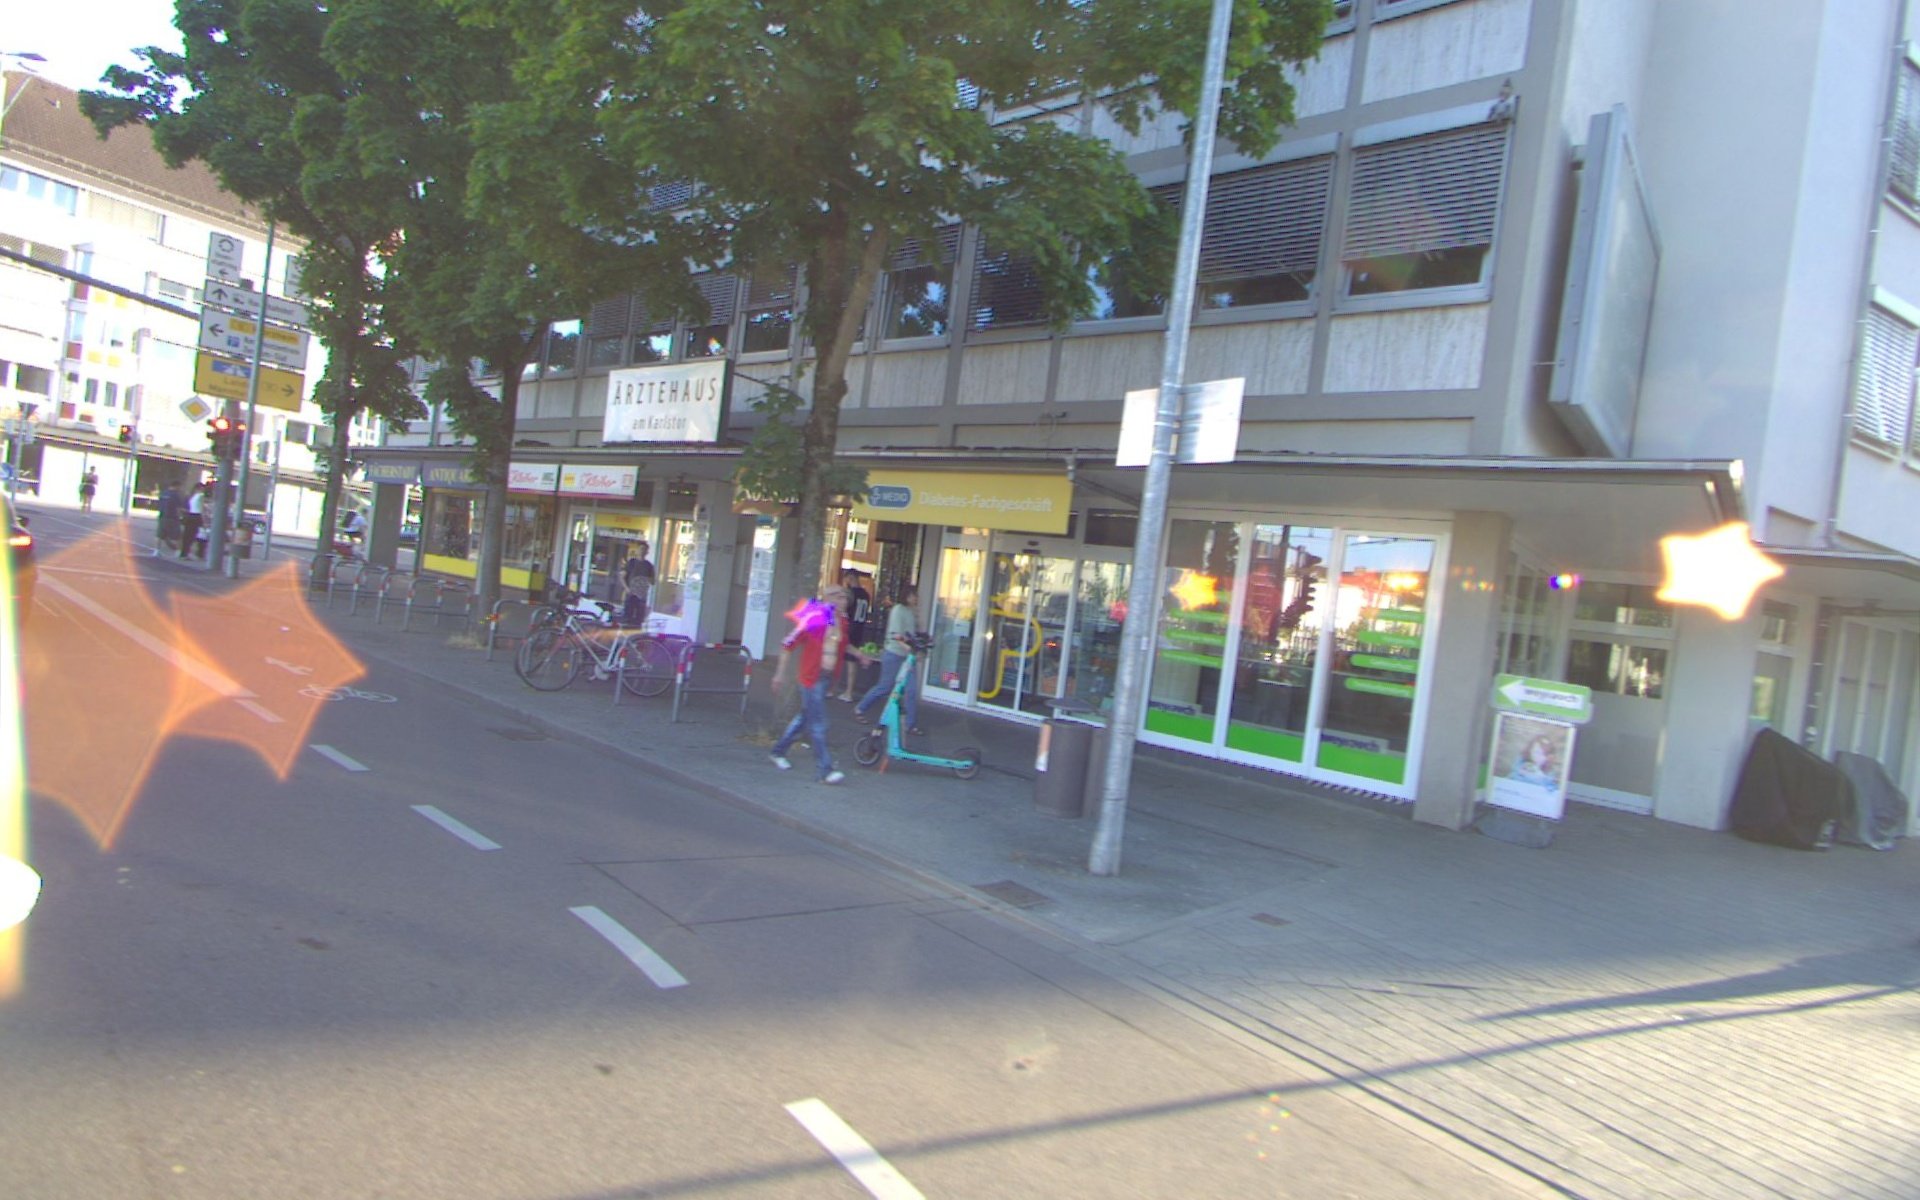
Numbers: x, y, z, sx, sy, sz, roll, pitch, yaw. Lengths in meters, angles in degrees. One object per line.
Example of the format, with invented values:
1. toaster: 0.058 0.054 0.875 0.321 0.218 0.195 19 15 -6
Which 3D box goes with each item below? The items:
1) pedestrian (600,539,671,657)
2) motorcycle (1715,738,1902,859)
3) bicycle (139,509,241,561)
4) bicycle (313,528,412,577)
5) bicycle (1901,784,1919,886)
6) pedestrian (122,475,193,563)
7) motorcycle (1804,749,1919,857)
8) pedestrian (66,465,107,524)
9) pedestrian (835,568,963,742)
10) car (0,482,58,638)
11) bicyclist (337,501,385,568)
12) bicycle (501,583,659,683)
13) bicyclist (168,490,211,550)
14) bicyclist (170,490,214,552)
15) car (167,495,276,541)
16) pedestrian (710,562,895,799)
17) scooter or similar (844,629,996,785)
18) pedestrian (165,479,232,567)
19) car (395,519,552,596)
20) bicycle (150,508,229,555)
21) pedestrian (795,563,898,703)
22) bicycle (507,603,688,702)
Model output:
1. pedestrian: -5.275 -0.038 16.354 0.740 1.799 0.794 9 -1 -28
2. motorcycle: 9.999 2.345 11.836 2.269 1.182 0.804 8 0 -28
3. bicycle: -20.437 -1.705 26.762 0.410 1.040 2.038 8 -1 34
4. bicycle: -18.647 -1.455 31.487 0.428 1.112 2.645 8 -2 33
5. bicycle: 10.709 2.528 9.839 0.579 1.127 1.988 7 2 -32
6. pedestrian: -18.339 -1.826 23.021 0.718 1.851 0.995 8 -1 -16
7. motorcycle: 11.991 2.641 13.033 2.249 1.172 0.734 8 1 -28
8. pedestrian: -28.557 -3.451 32.883 0.789 1.799 0.746 8 -1 42
9. pedestrian: -0.693 0.618 11.350 0.959 1.799 0.746 8 -1 39
10. car: -11.099 -0.649 10.579 3.942 1.457 1.764 8 -1 40
11. bicyclist: -18.637 -2.029 31.307 0.636 1.900 0.862 8 -1 33
12. bicycle: -4.540 0.414 12.105 1.654 0.985 0.381 10 -2 -44
13. bicyclist: -21.059 -2.172 27.493 0.541 1.531 0.704 8 3 32
14. bicyclist: -20.379 -2.095 26.708 0.541 1.531 0.704 8 3 33
15. car: -37.692 -4.165 51.413 1.970 1.493 3.990 8 -2 37
16. pedestrian: -1.268 0.642 8.268 1.028 1.704 0.827 8 -1 15
17. scooter or similar: -0.353 0.943 8.935 1.199 1.232 0.294 7 0 -5
18. pedestrian: -17.567 -1.754 23.223 0.718 1.851 0.994 8 -1 -17
19. car: -17.607 -1.511 36.510 4.663 2.038 1.978 8 0 -39
20. bicycle: -21.069 -1.866 27.543 0.348 1.040 1.613 8 0 33
21. pedestrian: -1.516 0.442 13.401 0.882 1.703 0.746 7 -1 41
22. bicycle: -4.046 0.618 11.350 1.814 0.901 0.410 10 -2 -44
